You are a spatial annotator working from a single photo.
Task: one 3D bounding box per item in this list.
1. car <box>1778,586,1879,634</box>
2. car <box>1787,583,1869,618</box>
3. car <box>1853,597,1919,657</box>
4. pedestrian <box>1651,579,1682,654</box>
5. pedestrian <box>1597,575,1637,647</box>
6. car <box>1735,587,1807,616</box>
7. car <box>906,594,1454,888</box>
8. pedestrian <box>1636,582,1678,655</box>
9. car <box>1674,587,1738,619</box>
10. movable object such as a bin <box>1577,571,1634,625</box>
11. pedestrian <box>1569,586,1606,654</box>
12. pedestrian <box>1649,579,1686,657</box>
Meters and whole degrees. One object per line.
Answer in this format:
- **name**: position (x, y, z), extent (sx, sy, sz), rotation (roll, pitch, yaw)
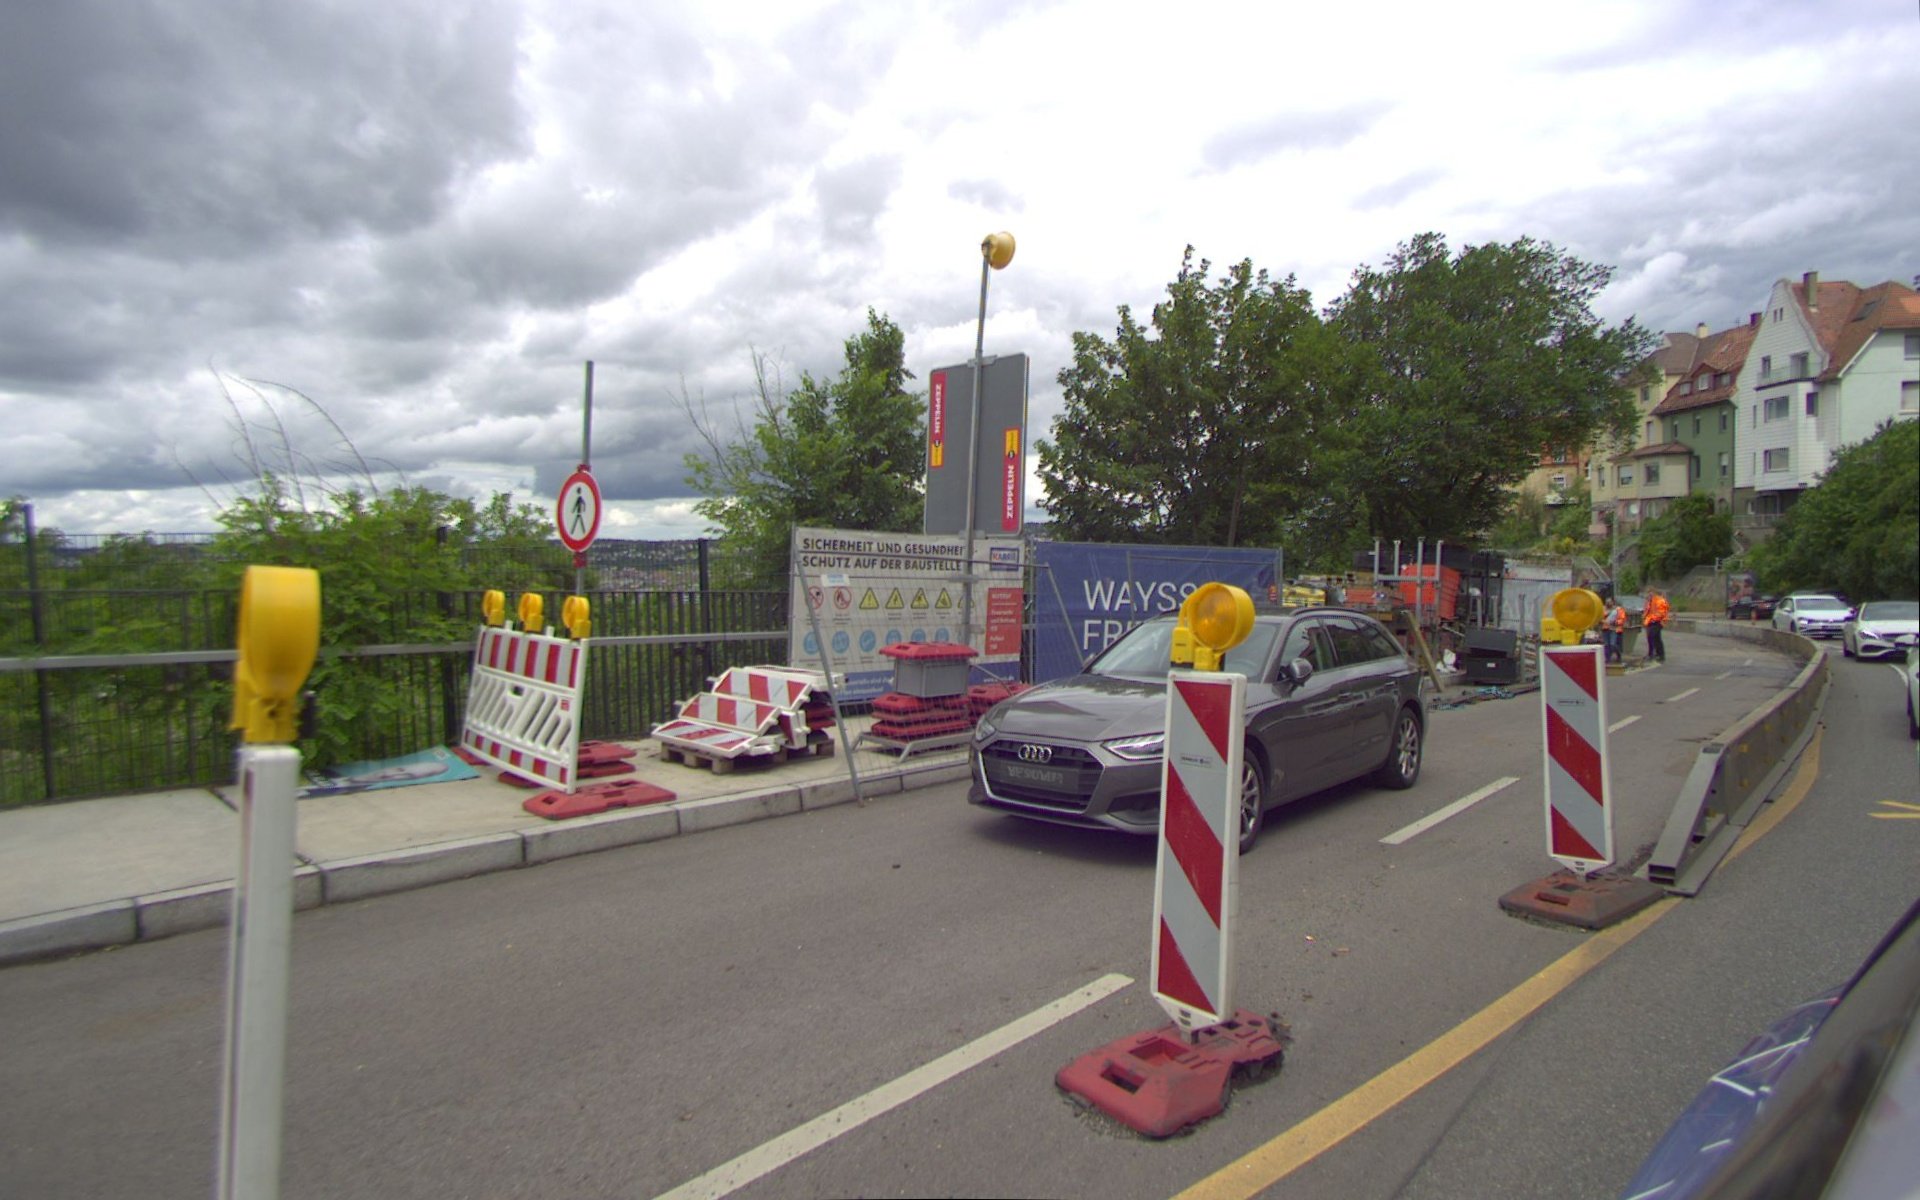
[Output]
- **car**: position (30.990, 0.348, 36.251), extent (1.869, 1.598, 3.960), rotation (-2, -1, 28)
- **car**: position (44.669, 0.038, 52.168), extent (1.747, 1.616, 3.768), rotation (-6, -2, 19)
- **car**: position (22.832, 0.608, 24.298), extent (1.789, 1.323, 4.045), rotation (1, 1, 37)
- **pedestrian**: position (18.072, 0.403, 25.899), extent (0.523, 1.865, 0.787), rotation (2, 1, 32)
- **pedestrian**: position (17.797, 0.308, 27.440), extent (0.723, 1.916, 0.613), rotation (-3, -3, 25)
- **car**: position (45.668, 0.116, 57.087), extent (1.659, 1.435, 3.773), rotation (-5, -2, 15)
- **car**: position (1.880, 0.706, 7.390), extent (1.839, 1.474, 4.555), rotation (-1, -1, 43)
- **pedestrian**: position (18.551, 0.500, 26.954), extent (0.608, 1.909, 0.718), rotation (2, -2, 3)
- **car**: position (43.194, 0.174, 58.696), extent (1.747, 1.616, 3.768), rotation (-6, -2, 19)
- **movable object such as a bin**: position (33.061, -0.109, 51.929), extent (1.843, 2.628, 3.413), rotation (-2, -1, 23)
- **pedestrian**: position (17.387, 0.549, 28.068), extent (0.638, 1.817, 0.640), rotation (-3, -1, 18)
- **pedestrian**: position (17.498, 0.437, 25.042), extent (0.635, 1.882, 0.825), rotation (2, 1, 32)
